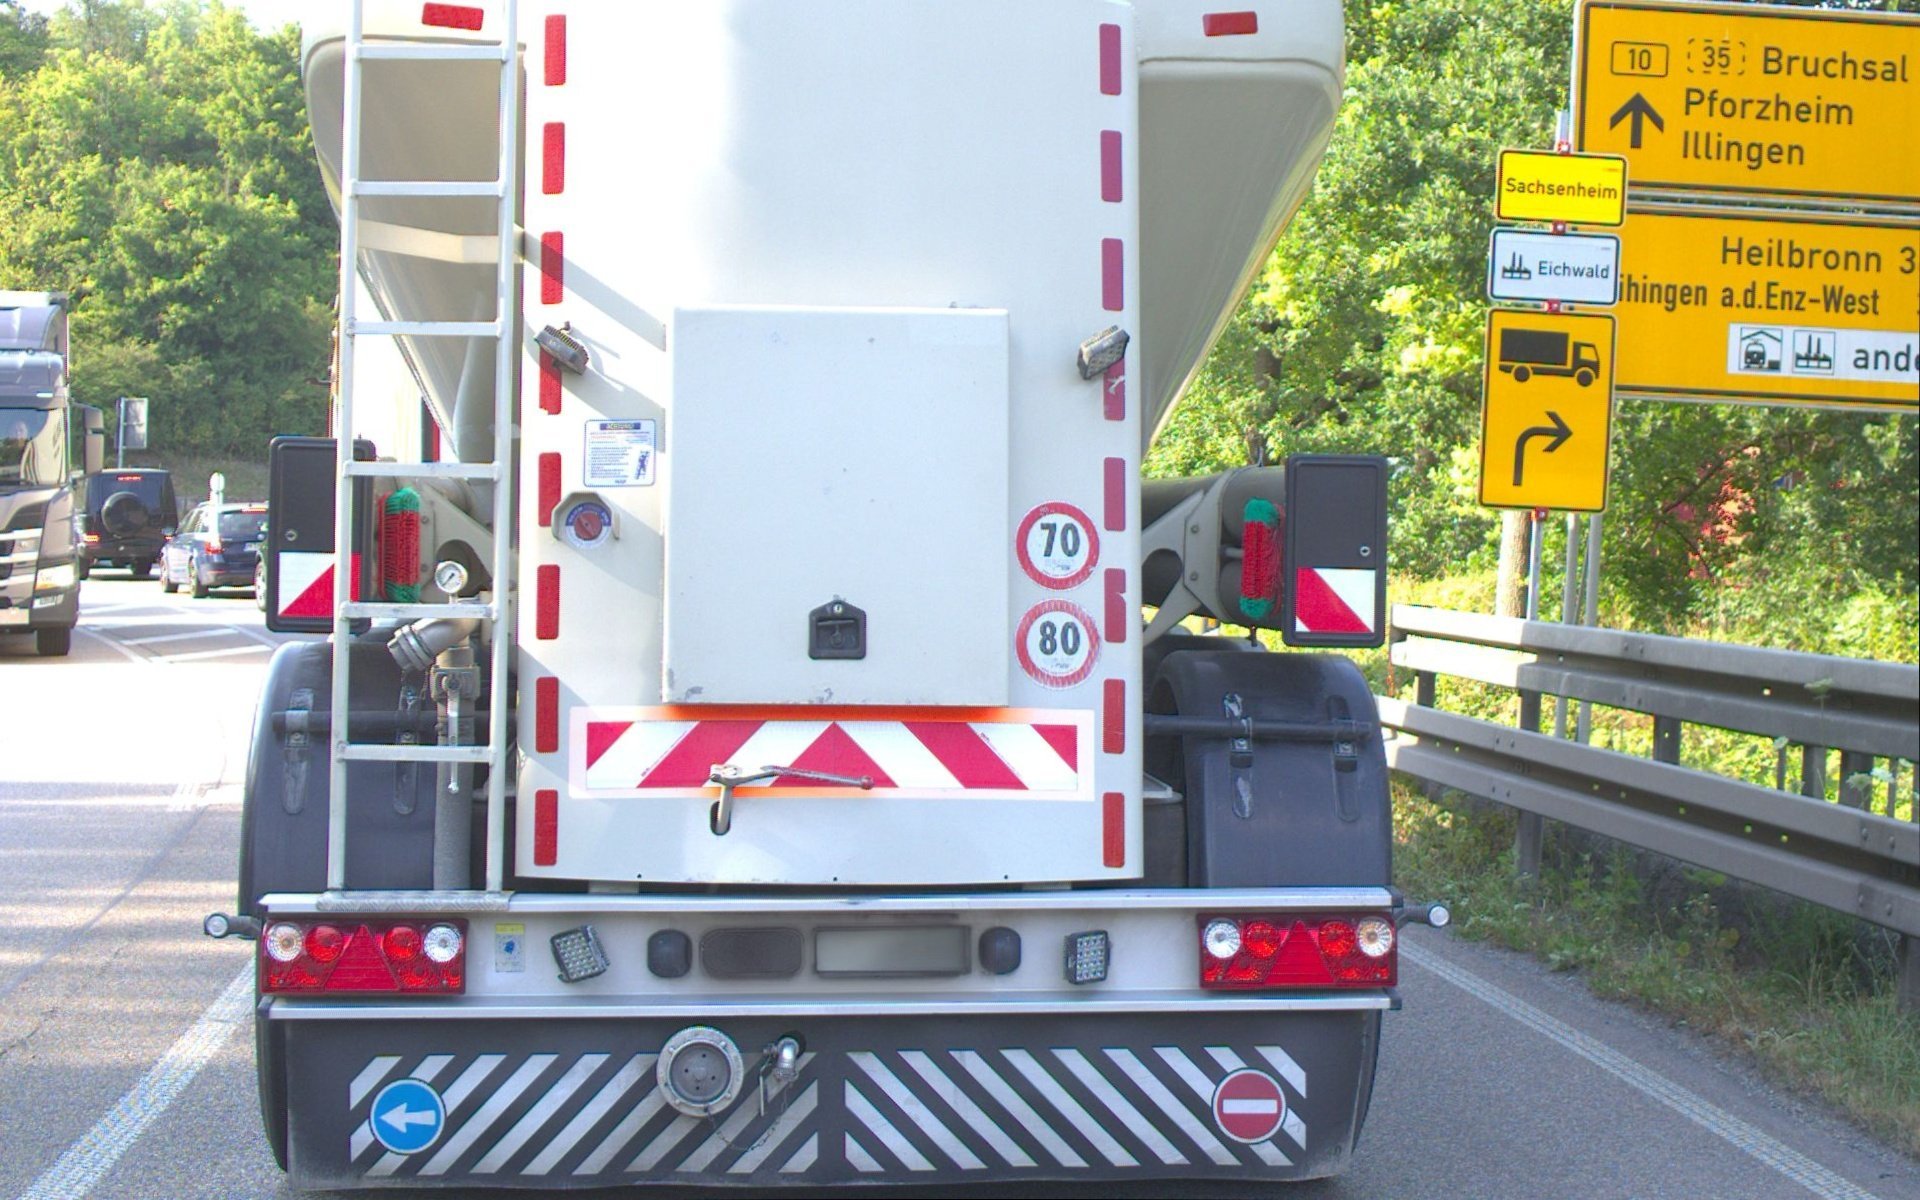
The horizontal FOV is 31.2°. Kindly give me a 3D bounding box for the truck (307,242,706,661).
[{"bbox_3d":[-5.099,-1.577,37.450,3.449,4.072,6.493,1,2,-14],"label":"truck"}]

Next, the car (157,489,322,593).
[{"bbox_3d":[-11.298,-0.946,53.737,1.867,1.559,4.001,-1,2,-21],"label":"car"}]

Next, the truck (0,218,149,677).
[{"bbox_3d":[-11.461,-1.636,39.041,3.011,4.569,10.244,1,1,-21],"label":"truck"}]

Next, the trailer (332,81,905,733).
[{"bbox_3d":[-3.554,-1.462,30.752,3.544,4.497,12.988,2,1,-12],"label":"trailer"}]

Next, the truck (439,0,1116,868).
[{"bbox_3d":[-1.126,-0.934,17.508,2.823,4.021,5.896,1,1,-7],"label":"truck"}]

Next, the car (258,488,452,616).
[{"bbox_3d":[-8.125,-0.682,45.934,1.867,1.622,4.001,-1,2,-20],"label":"car"}]

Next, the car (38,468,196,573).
[{"bbox_3d":[-15.352,-1.479,62.476,1.956,1.845,4.001,-1,2,-26],"label":"car"}]

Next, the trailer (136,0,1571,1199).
[{"bbox_3d":[-0.572,-1.005,11.778,2.886,4.439,9.607,1,1,-5],"label":"trailer"}]
